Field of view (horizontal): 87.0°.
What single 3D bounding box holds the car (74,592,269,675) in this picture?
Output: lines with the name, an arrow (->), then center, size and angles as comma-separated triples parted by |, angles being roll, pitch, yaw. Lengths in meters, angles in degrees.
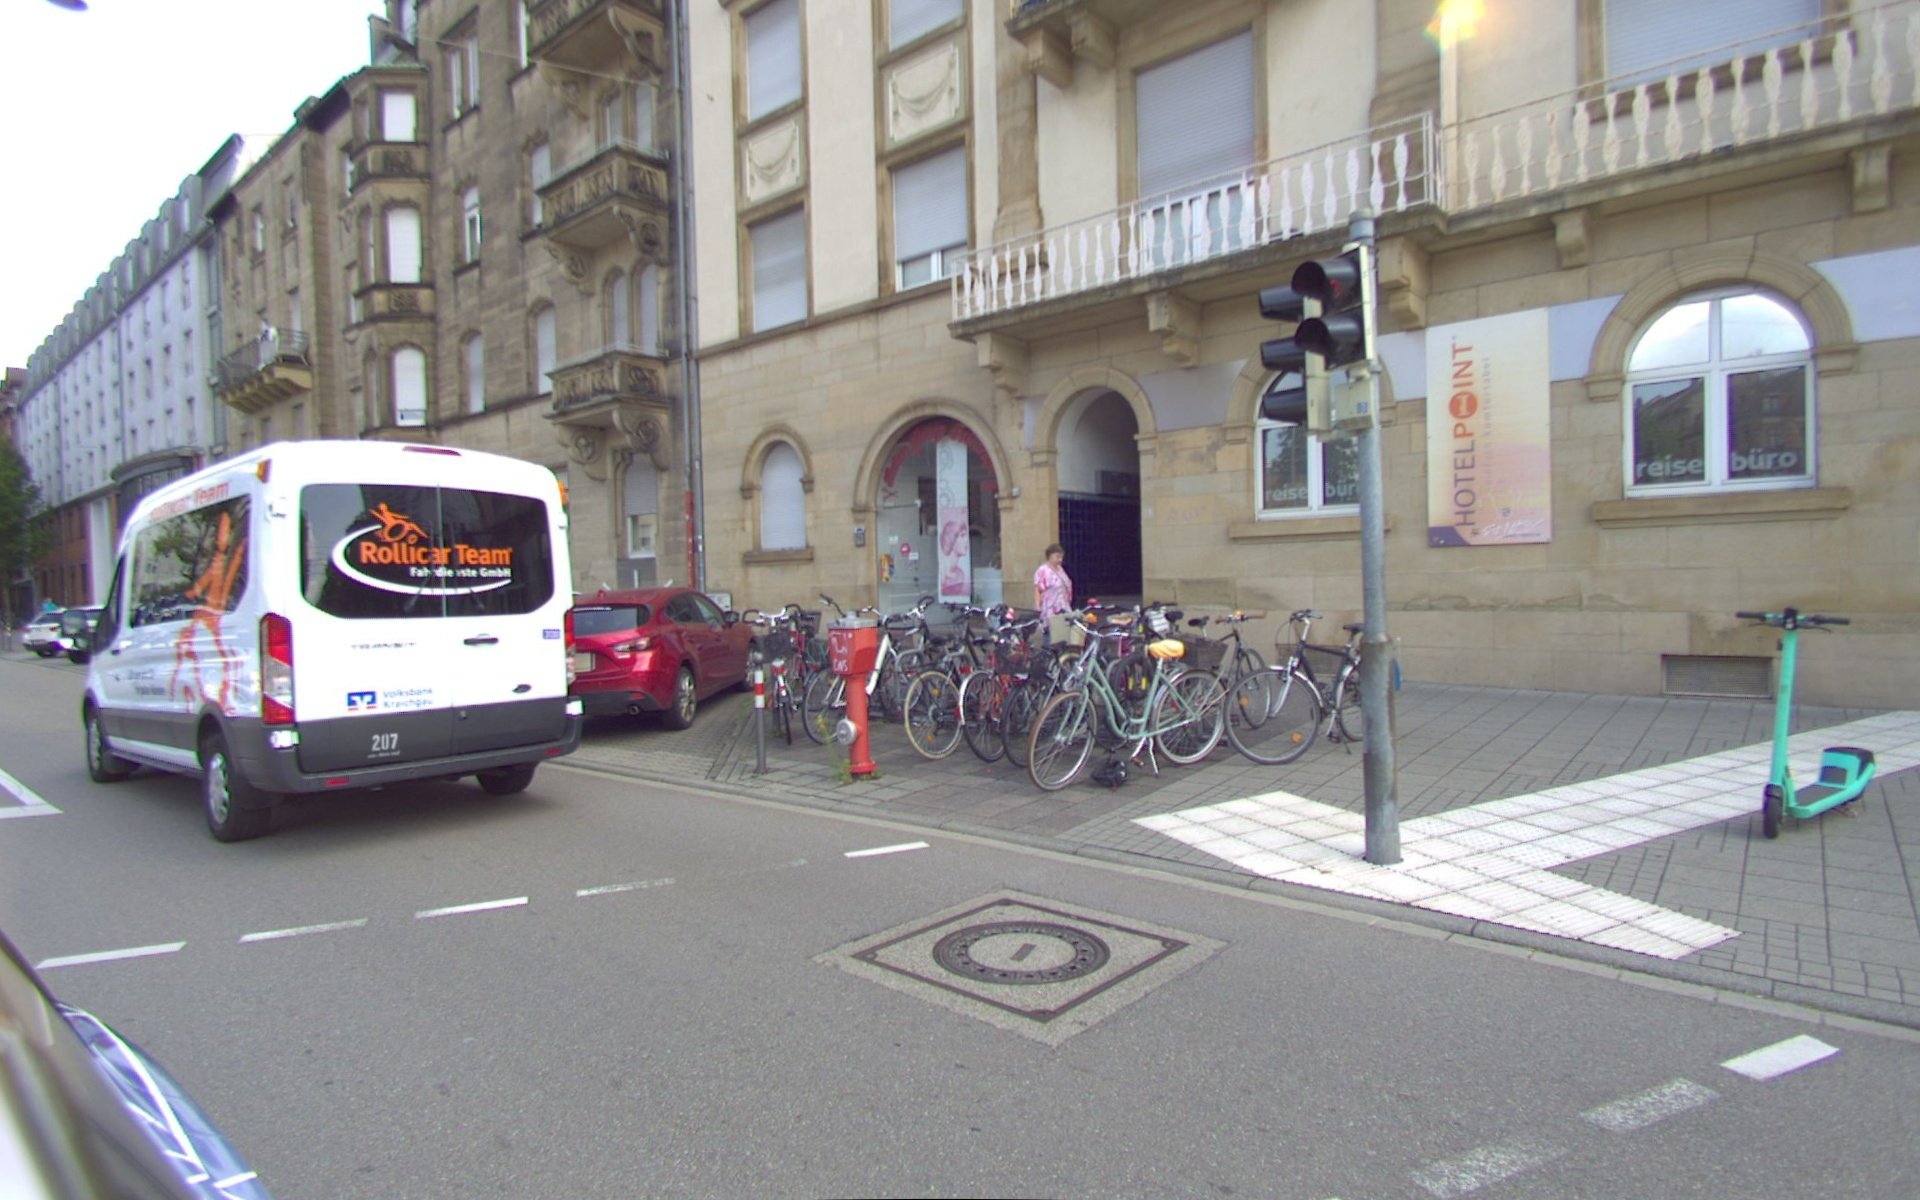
car -> -19.899, 0.770, 25.798 | 1.708, 1.596, 3.954 | -4, 4, 1

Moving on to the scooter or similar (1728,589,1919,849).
scooter or similar -> 4.590, 0.560, 5.297 | 1.232, 1.154, 0.482 | -4, 3, -32

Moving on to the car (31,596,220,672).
car -> -22.595, 0.854, 27.614 | 1.708, 1.597, 3.954 | -4, 3, 1

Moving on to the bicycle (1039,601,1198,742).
bicycle -> 1.446, 0.594, 9.059 | 1.558, 1.059, 0.481 | -5, 3, -42

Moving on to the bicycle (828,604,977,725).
bicycle -> -0.569, 0.629, 10.561 | 0.557, 1.059, 1.611 | -2, 3, 39

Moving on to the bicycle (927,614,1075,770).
bicycle -> 0.359, 0.692, 8.151 | 0.417, 1.059, 1.355 | -2, 3, 39

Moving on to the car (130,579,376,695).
car -> -13.727, 0.628, 19.968 | 1.710, 1.881, 3.947 | -3, 2, 7

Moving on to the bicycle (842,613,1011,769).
bicycle -> -0.237, 0.693, 8.291 | 0.462, 1.059, 1.464 | -1, 3, 41

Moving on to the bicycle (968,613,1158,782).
bicycle -> 0.820, 0.692, 7.754 | 1.558, 1.059, 0.481 | -5, 3, -42

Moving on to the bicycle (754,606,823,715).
bicycle -> -1.964, 0.651, 11.775 | 0.549, 1.059, 1.907 | -3, 2, -4

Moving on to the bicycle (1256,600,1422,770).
bicycle -> 2.831, 0.580, 7.493 | 1.421, 1.059, 0.481 | -5, 3, -40

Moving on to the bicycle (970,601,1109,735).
bicycle -> 0.767, 0.594, 9.408 | 0.462, 1.059, 1.464 | -1, 3, 41

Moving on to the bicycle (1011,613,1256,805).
bicycle -> 1.224, 0.683, 6.954 | 1.708, 1.059, 0.532 | -5, 2, -33

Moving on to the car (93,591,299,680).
car -> -17.796, 0.752, 23.848 | 1.708, 1.597, 3.954 | -3, 4, 1

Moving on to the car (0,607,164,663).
car -> -26.982, 1.032, 31.196 | 1.708, 1.485, 3.953 | -2, 1, 1

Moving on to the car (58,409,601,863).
car -> -5.438, 0.289, 8.219 | 5.941, 2.463, 2.055 | -3, -2, 41

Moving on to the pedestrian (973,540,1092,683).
pedestrian -> 0.890, 0.121, 12.376 | 0.996, 1.606, 0.932 | -1, 4, 42

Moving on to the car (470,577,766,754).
car -> -3.616, 0.583, 11.550 | 1.788, 1.467, 3.997 | -3, 3, 3

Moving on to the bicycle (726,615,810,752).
bicycle -> -1.782, 0.733, 9.608 | 0.549, 1.059, 1.815 | -3, 2, -5

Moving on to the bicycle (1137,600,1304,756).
bicycle -> 2.150, 0.581, 8.232 | 1.589, 1.059, 0.481 | -5, 3, -42

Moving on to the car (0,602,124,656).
car -> -32.074, 1.018, 35.709 | 1.708, 1.597, 3.953 | -4, 2, 1

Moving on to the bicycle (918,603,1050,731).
bicycle -> 0.263, 0.613, 9.839 | 0.462, 1.059, 1.466 | -2, 3, 38

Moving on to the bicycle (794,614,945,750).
bicycle -> -0.798, 0.704, 9.294 | 0.462, 1.059, 1.466 | -2, 2, 38
